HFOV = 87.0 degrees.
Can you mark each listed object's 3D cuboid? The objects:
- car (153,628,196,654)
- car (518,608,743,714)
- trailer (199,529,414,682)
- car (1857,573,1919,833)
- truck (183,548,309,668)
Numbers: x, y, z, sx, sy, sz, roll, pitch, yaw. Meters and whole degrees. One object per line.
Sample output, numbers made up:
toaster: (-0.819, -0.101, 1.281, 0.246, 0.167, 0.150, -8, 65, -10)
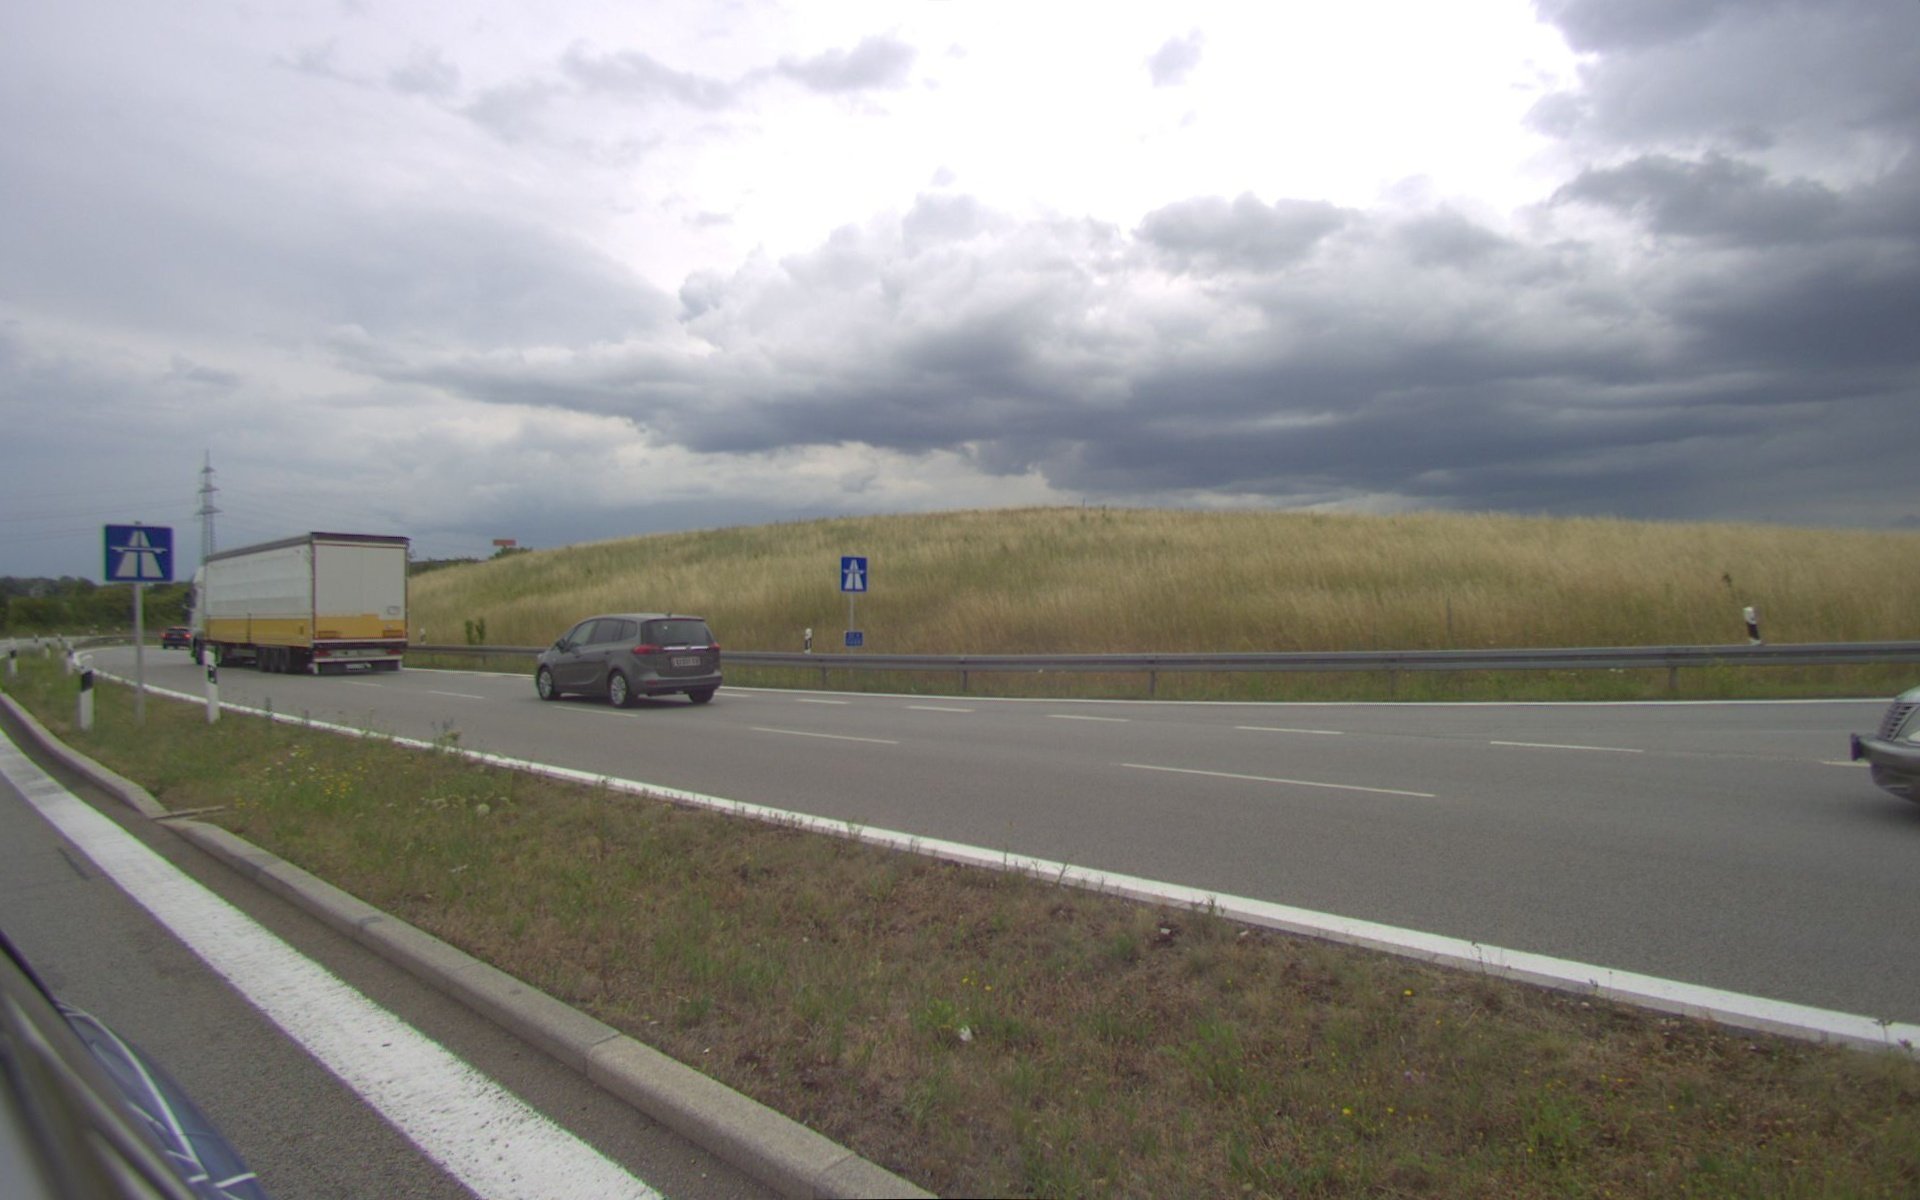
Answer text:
car: (-56.487, 2.893, 72.769, 4.116, 1.696, 1.971, -1, 0, 45)
car: (-6.188, 1.022, 18.745, 4.453, 1.707, 1.973, -1, 0, 41)
trailer: (-22.197, 0.207, 33.760, 13.840, 4.242, 2.663, -1, 0, 43)
car: (7.696, 0.532, 5.420, 4.240, 1.532, 1.791, -3, -1, 41)
truck: (-27.130, 0.309, 38.361, 6.403, 4.172, 2.621, -1, 0, 43)
